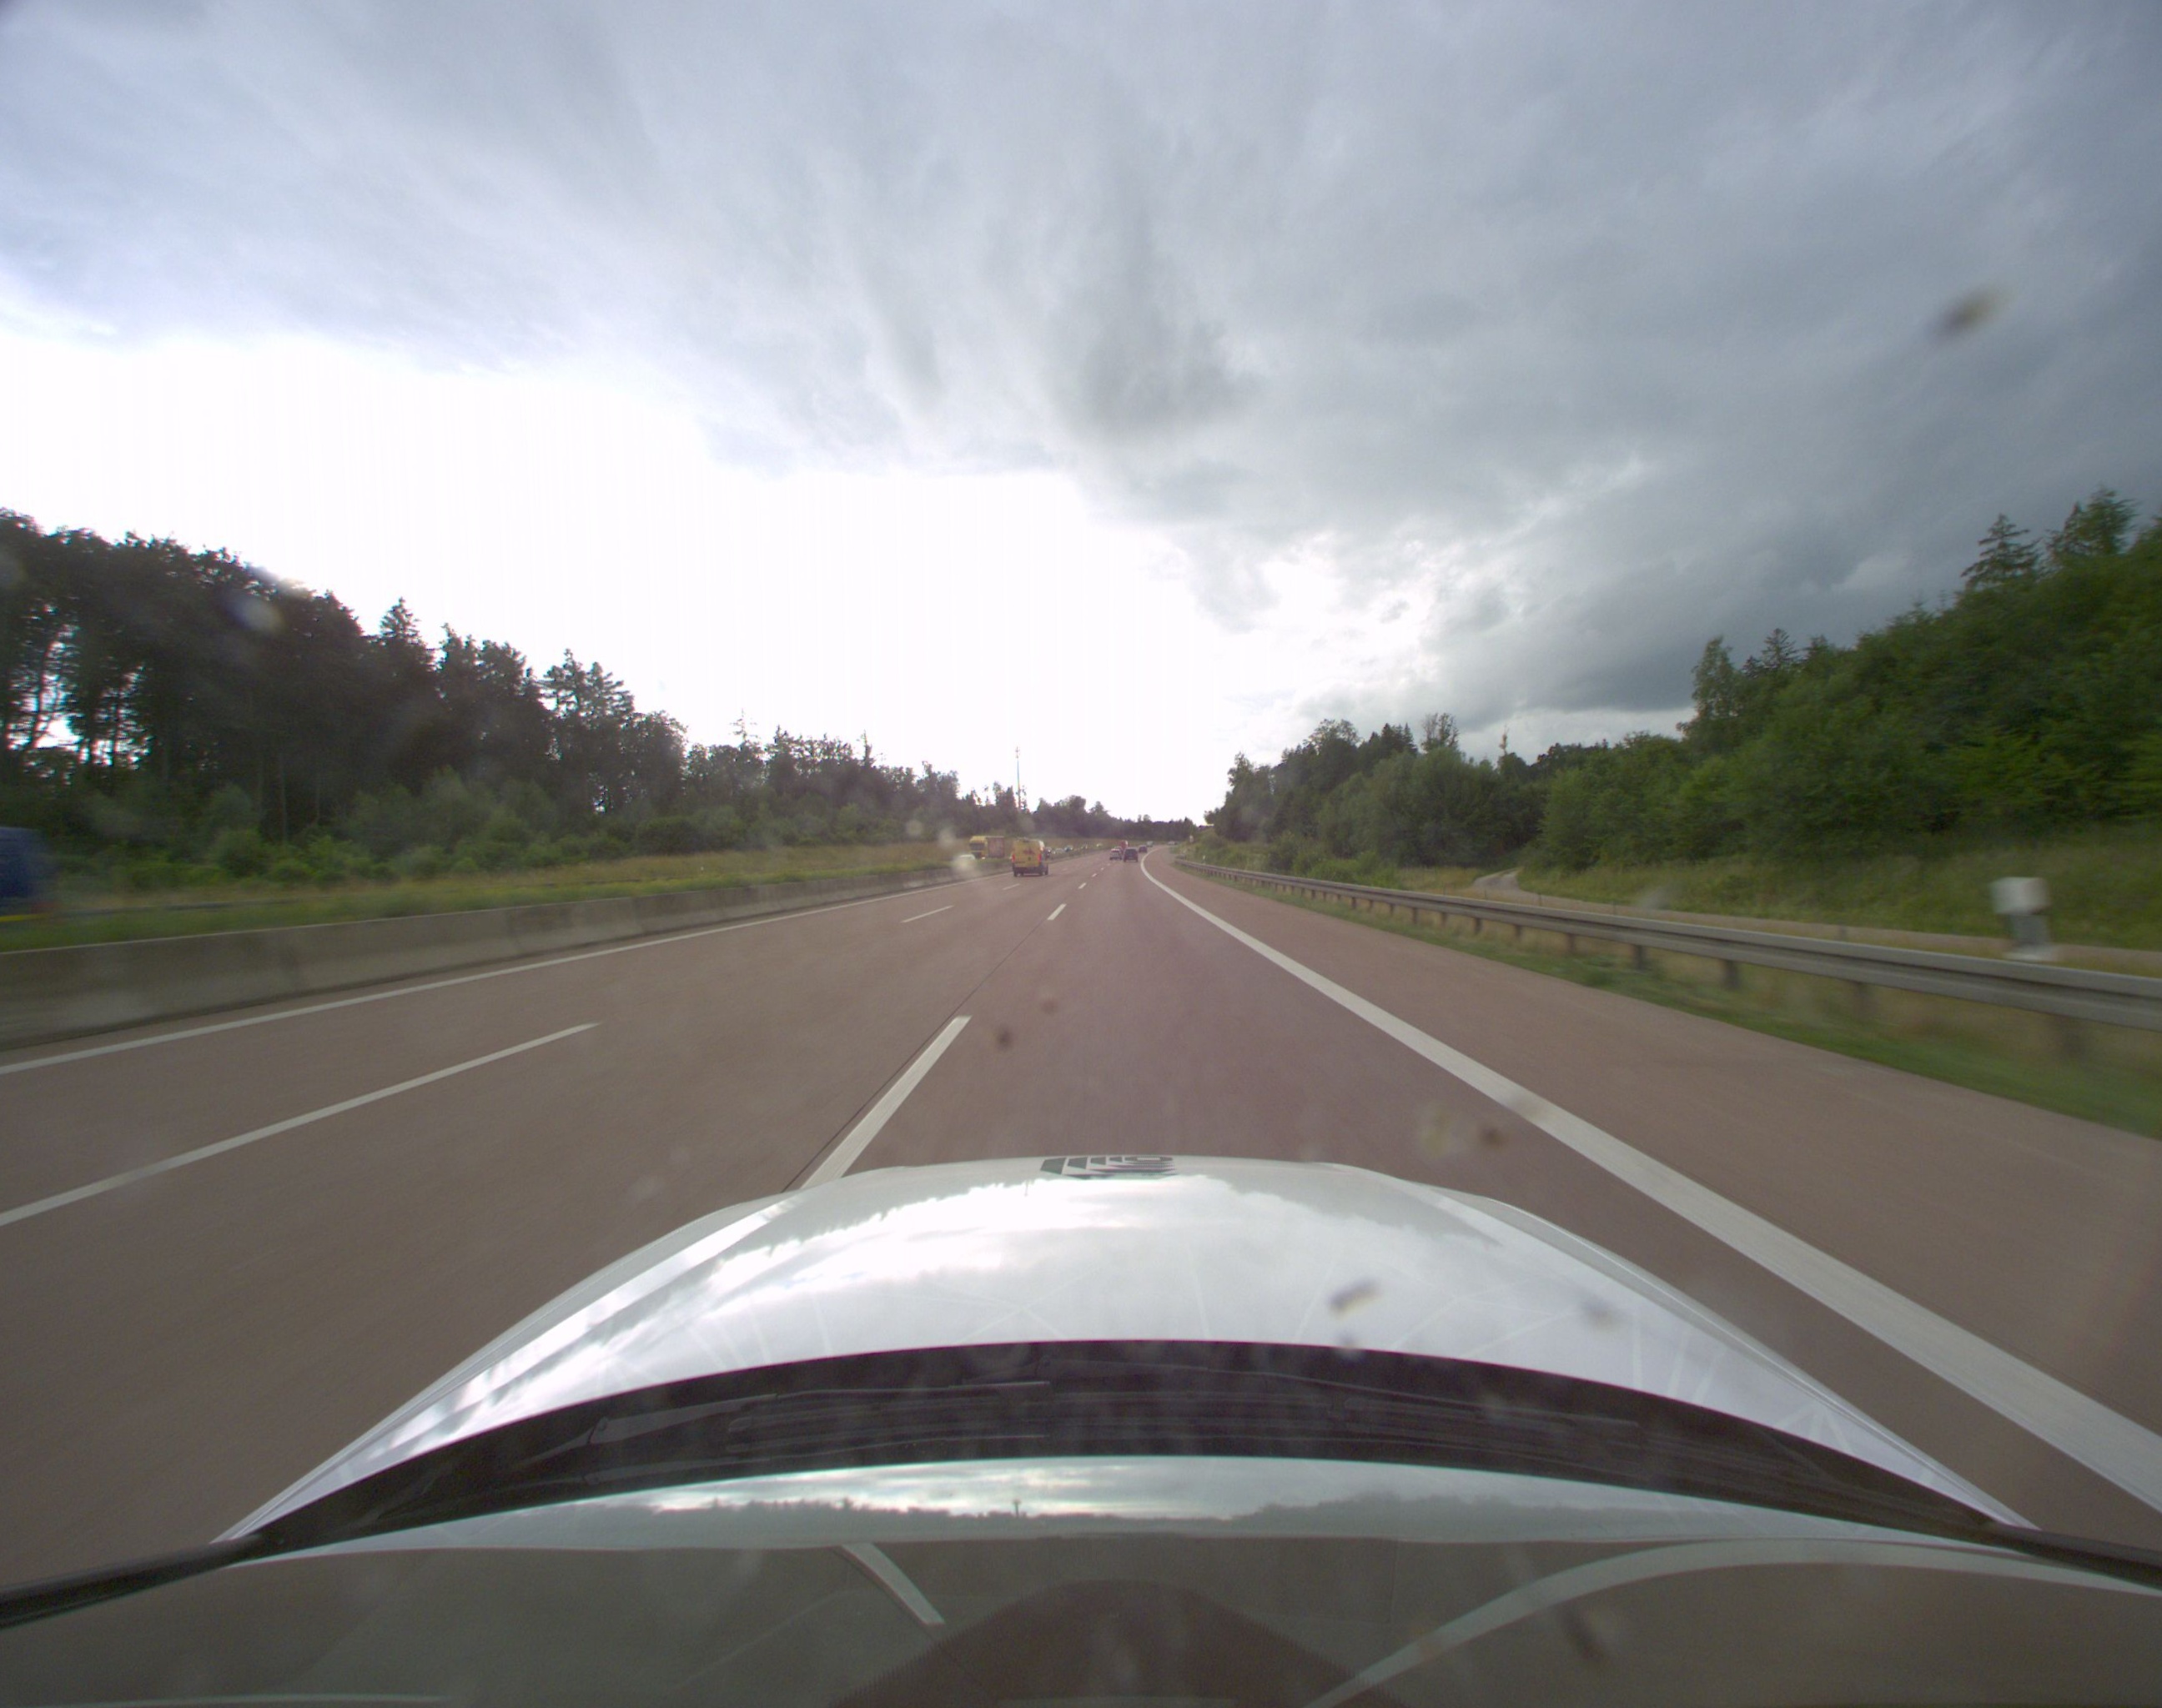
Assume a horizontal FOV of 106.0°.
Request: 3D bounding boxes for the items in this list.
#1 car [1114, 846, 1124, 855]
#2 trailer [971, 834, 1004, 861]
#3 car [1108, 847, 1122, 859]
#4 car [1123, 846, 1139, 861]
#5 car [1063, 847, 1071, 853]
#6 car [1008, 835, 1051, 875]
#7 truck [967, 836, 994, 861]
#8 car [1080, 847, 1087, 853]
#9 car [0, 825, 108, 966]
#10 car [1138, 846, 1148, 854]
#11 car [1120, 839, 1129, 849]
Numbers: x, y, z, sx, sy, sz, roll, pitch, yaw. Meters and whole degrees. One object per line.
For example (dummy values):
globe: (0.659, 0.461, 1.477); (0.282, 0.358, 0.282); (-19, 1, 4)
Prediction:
car: (7.564, -0.663, 161.460); (1.969, 1.648, 4.623); (-2, -1, 3)
trailer: (-14.866, -0.950, 130.740); (3.021, 4.042, 14.540); (-1, -1, 3)
car: (5.137, -0.111, 123.598); (1.970, 1.648, 4.622); (-2, -1, 2)
car: (6.569, -0.063, 106.942); (2.035, 1.897, 5.582); (-2, -1, 4)
car: (-3.622, -1.005, 213.220); (1.755, 1.638, 4.383); (-1, -1, 3)
car: (-3.617, 0.091, 58.467); (2.449, 2.706, 5.617); (-2, -1, 2)
truck: (-15.215, -0.822, 123.690); (2.999, 3.582, 6.063); (-1, -1, 3)
car: (0.768, -1.239, 248.058); (1.798, 1.815, 4.006); (-1, 1, 5)
car: (-18.202, 0.677, 11.338); (1.986, 2.242, 6.042); (-1, 0, 1)
car: (13.898, -0.903, 182.383); (1.969, 1.648, 4.623); (-2, -1, 3)
car: (11.218, -2.573, 211.082); (2.230, 2.430, 6.212); (1, 0, 5)
